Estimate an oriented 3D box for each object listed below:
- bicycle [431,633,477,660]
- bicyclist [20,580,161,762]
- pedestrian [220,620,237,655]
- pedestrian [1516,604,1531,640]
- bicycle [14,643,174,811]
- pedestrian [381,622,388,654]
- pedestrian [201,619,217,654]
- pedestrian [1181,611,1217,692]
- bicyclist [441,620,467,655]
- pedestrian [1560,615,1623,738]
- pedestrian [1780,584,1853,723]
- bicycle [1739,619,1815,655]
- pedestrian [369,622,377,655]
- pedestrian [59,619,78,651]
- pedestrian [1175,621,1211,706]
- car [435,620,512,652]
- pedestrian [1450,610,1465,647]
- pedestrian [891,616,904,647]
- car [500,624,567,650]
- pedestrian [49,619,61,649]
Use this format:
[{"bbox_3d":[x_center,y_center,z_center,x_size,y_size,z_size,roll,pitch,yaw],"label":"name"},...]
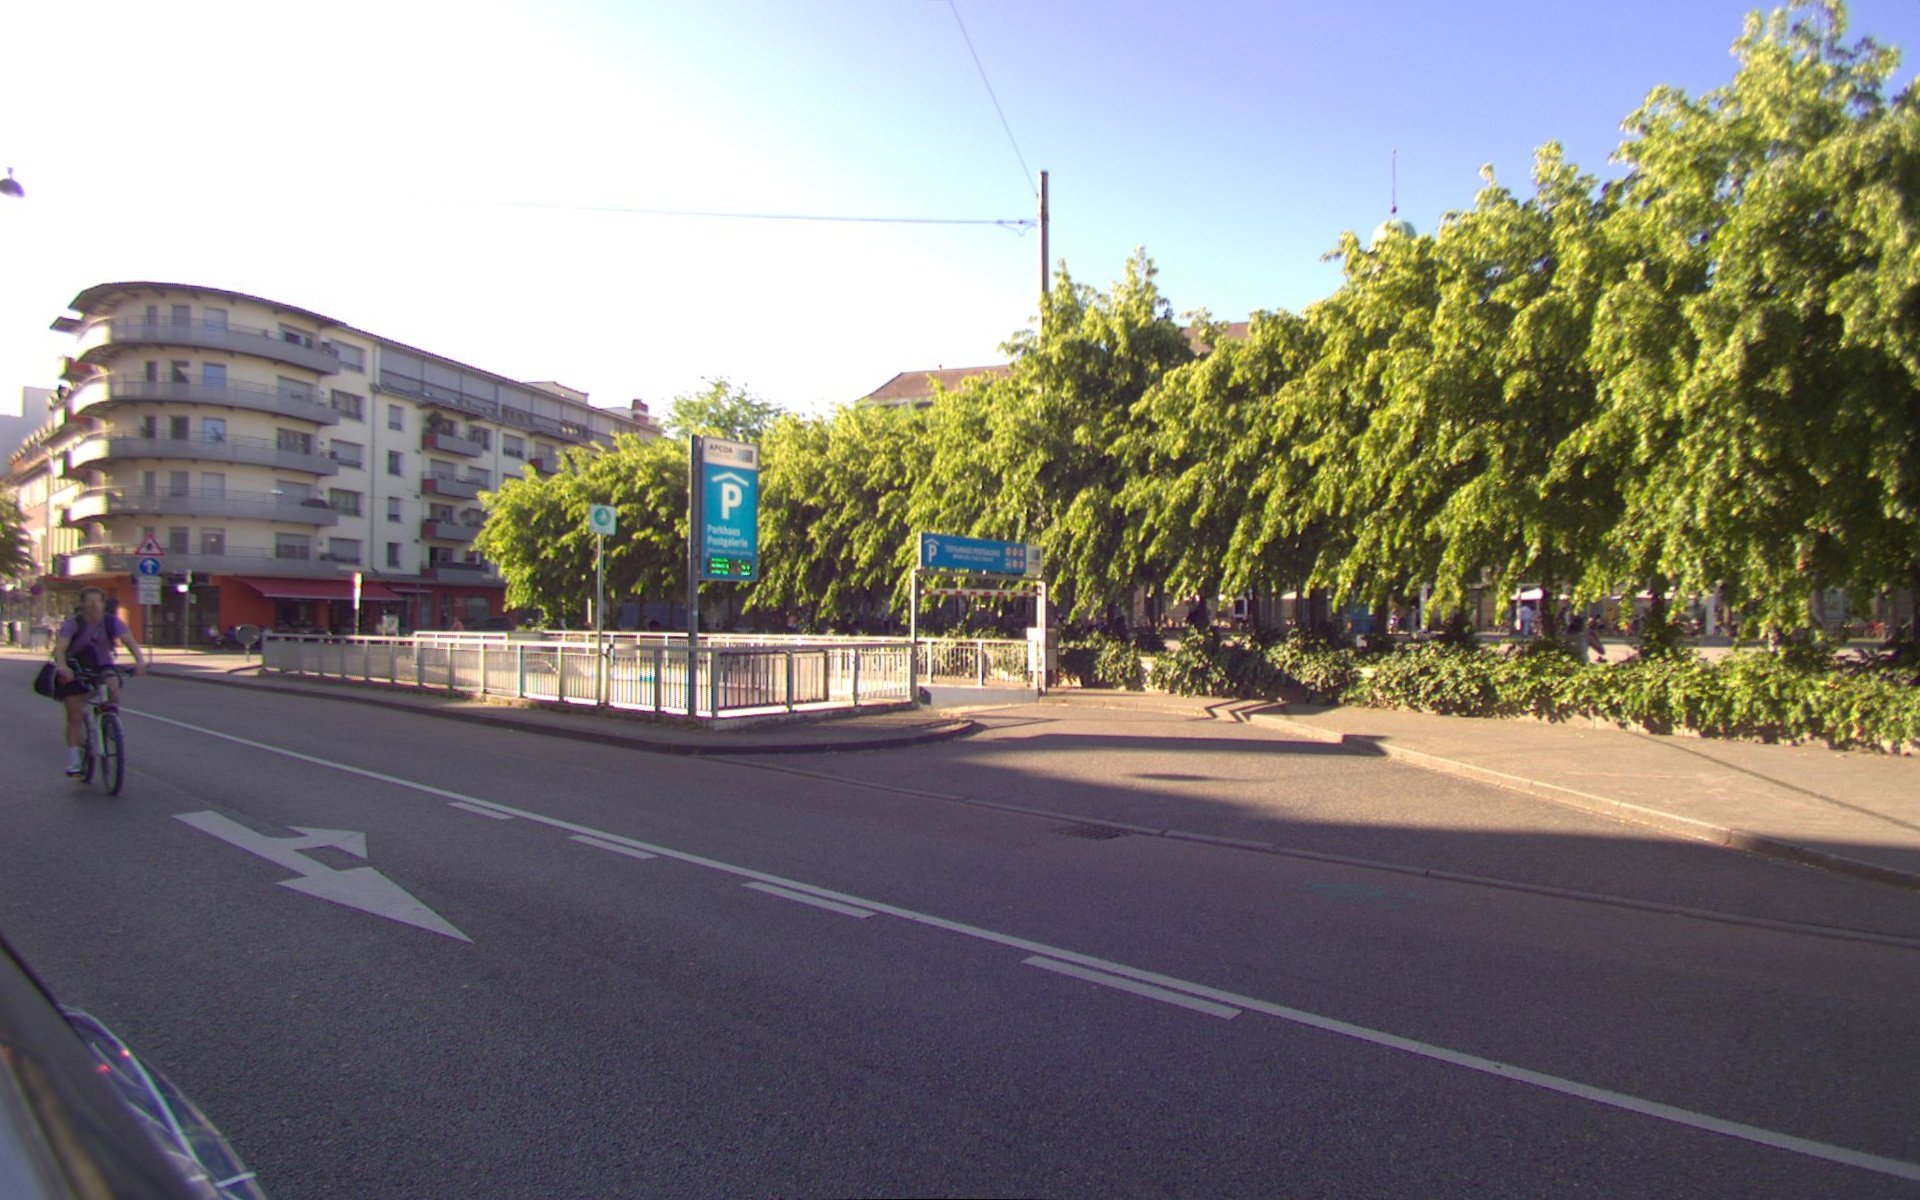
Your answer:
[{"bbox_3d":[-24.567,2.253,49.165,1.844,1.221,0.715,-1,0,-6],"label":"bicycle"},{"bbox_3d":[-7.485,0.576,8.709,1.007,1.445,0.788,-1,-1,41],"label":"bicyclist"},{"bbox_3d":[-36.760,1.893,50.841,0.642,1.721,0.568,-2,-2,43],"label":"pedestrian"},{"bbox_3d":[28.233,1.109,50.738,0.598,1.806,0.577,-1,-1,27],"label":"pedestrian"},{"bbox_3d":[-7.411,1.011,8.635,1.773,1.242,0.788,-1,-1,41],"label":"bicycle"},{"bbox_3d":[-30.115,1.996,52.946,0.266,1.680,0.362,0,-1,-17],"label":"pedestrian"},{"bbox_3d":[-37.682,1.814,50.784,0.642,1.721,0.568,-2,-2,43],"label":"pedestrian"},{"bbox_3d":[5.621,1.191,23.756,0.674,1.870,0.577,-1,-1,30],"label":"pedestrian"},{"bbox_3d":[-24.579,1.812,49.169,0.960,1.627,0.715,0,0,-10],"label":"bicyclist"},{"bbox_3d":[9.942,1.177,15.935,0.732,1.870,0.574,-1,-1,44],"label":"pedestrian"},{"bbox_3d":[11.864,0.723,14.034,0.597,1.870,0.578,-1,0,22],"label":"pedestrian"},{"bbox_3d":[24.707,1.095,30.649,0.496,1.024,2.061,-1,0,-3],"label":"bicycle"},{"bbox_3d":[-30.507,1.999,52.594,0.318,1.680,0.362,0,-1,-17],"label":"pedestrian"},{"bbox_3d":[-45.607,1.793,51.774,0.792,1.634,0.563,-1,-1,37],"label":"pedestrian"},{"bbox_3d":[5.253,1.411,22.835,0.600,1.870,0.575,-1,-1,38],"label":"pedestrian"},{"bbox_3d":[-30.390,2.225,63.392,1.938,1.927,4.403,-1,-1,16],"label":"car"},{"bbox_3d":[24.606,1.419,50.055,0.599,1.806,0.576,-1,-1,31],"label":"pedestrian"},{"bbox_3d":[-3.608,1.805,58.410,0.578,1.806,0.597,-1,0,20],"label":"pedestrian"},{"bbox_3d":[-28.836,2.503,68.591,1.938,1.633,4.272,-1,-1,16],"label":"car"},{"bbox_3d":[-45.864,1.722,51.269,0.515,1.541,0.371,-1,-1,37],"label":"pedestrian"}]
